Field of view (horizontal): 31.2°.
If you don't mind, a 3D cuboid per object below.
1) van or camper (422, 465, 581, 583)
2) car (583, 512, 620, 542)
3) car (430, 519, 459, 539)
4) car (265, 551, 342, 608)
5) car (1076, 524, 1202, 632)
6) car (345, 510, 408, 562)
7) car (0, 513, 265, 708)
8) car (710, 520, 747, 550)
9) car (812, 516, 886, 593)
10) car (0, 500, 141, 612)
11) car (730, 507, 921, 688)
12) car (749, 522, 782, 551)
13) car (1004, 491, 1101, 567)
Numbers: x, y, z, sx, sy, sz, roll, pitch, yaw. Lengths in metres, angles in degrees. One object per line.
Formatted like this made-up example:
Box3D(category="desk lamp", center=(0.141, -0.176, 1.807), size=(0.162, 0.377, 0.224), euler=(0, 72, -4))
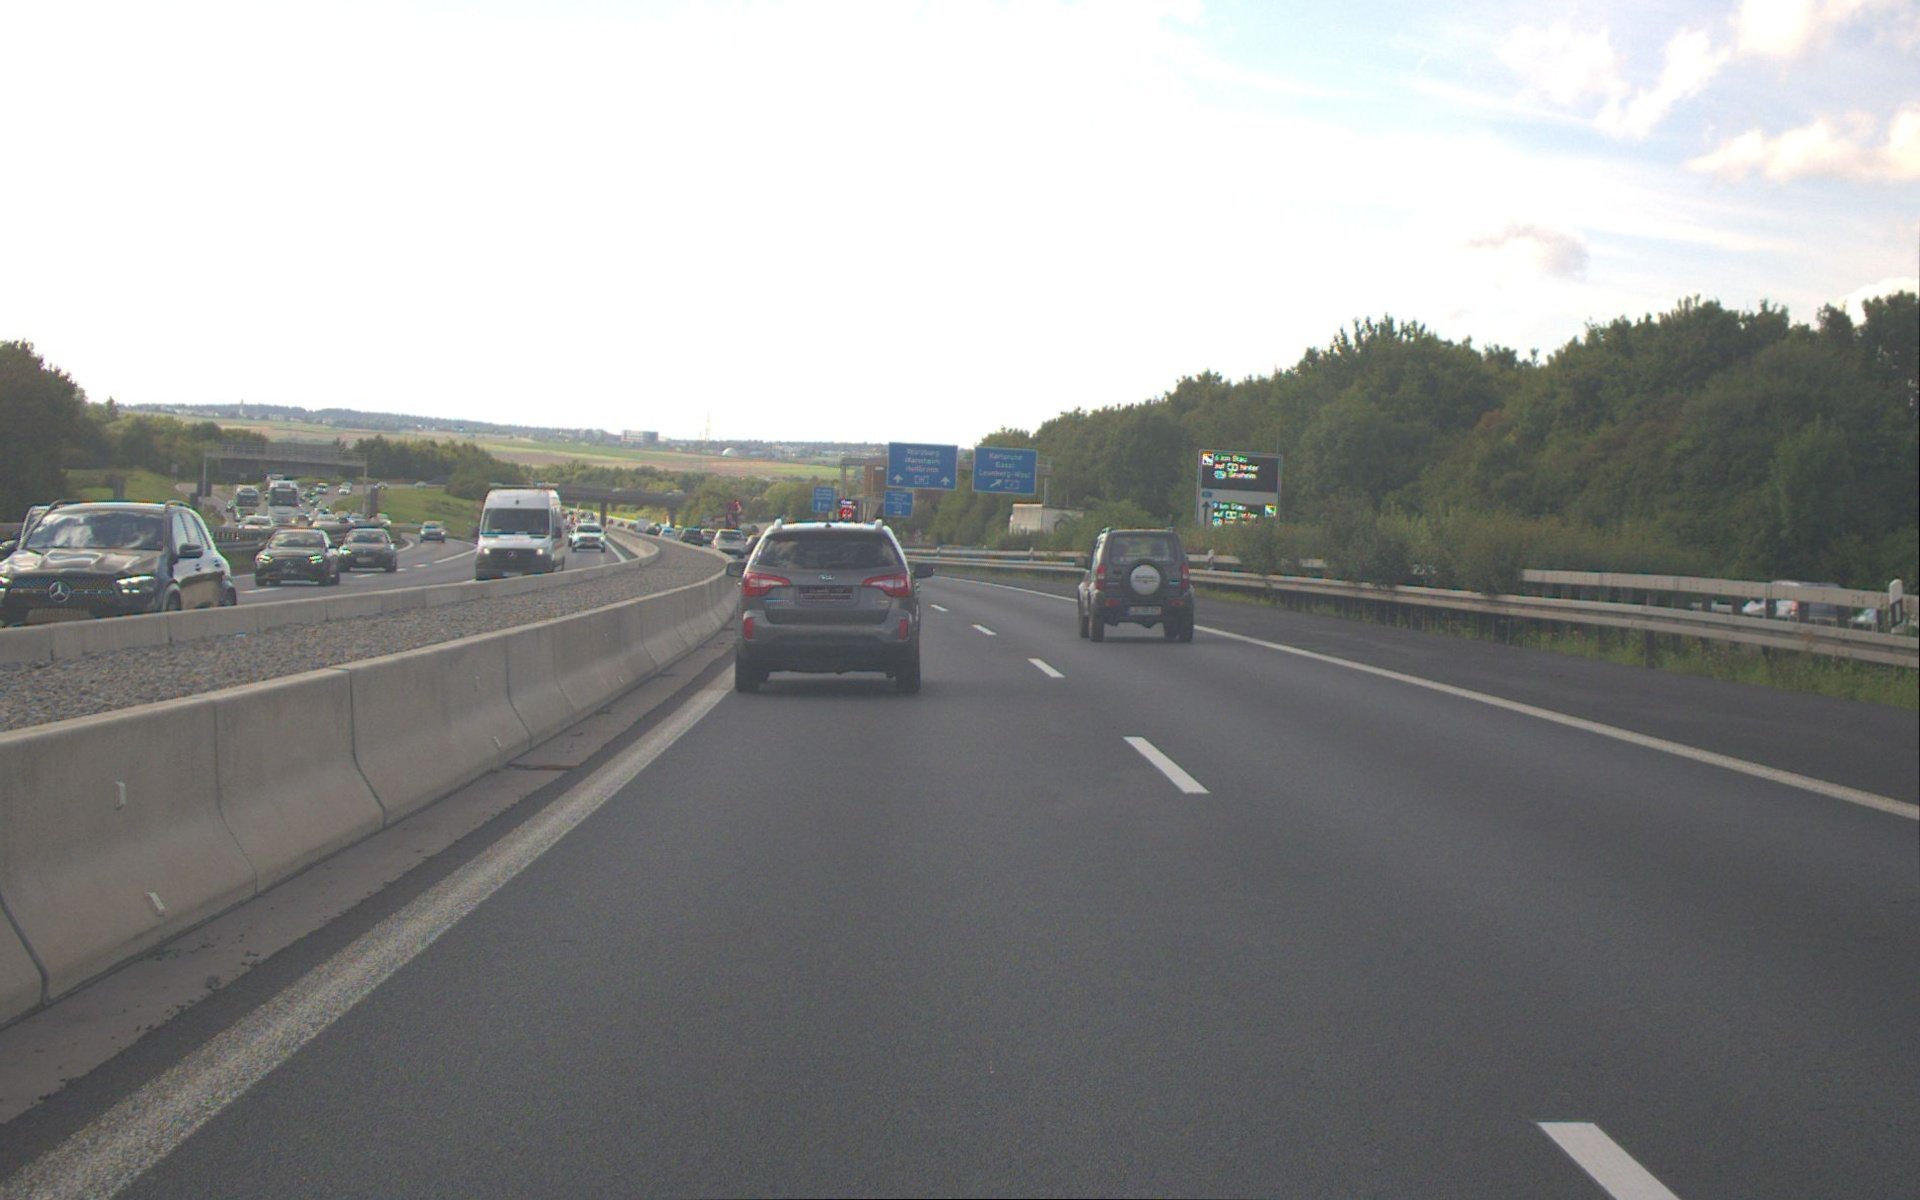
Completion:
Box3D(category="van or camper", center=(-12.082, -2.003, 91.203), size=(3.335, 2.906, 7.467), euler=(1, 1, -1))
Box3D(category="car", center=(-20.450, -4.173, 196.408), size=(1.842, 1.605, 5.136), euler=(1, 1, -3))
Box3D(category="car", center=(-35.158, -4.835, 234.630), size=(1.626, 1.289, 4.756), euler=(1, 1, -5))
Box3D(category="car", center=(-17.756, -0.580, 93.118), size=(1.784, 1.412, 4.998), euler=(1, 1, -8))
Box3D(category="car", center=(2.758, -0.374, 53.701), size=(1.587, 1.591, 4.096), euler=(1, 1, -2))
Box3D(category="car", center=(-19.808, -2.194, 116.806), size=(1.725, 1.694, 4.153), euler=(1, 1, -5))
Box3D(category="car", center=(-9.070, 0.052, 37.304), size=(1.993, 1.913, 5.149), euler=(2, 1, 0))
Box3D(category="car", center=(-14.113, -3.973, 209.186), size=(1.993, 1.678, 4.001), euler=(1, -1, -7))
Box3D(category="car", center=(-3.189, -1.314, 98.969), size=(2.030, 2.144, 4.000), euler=(1, 1, -2))
Box3D(category="car", center=(-16.087, -0.803, 61.513), size=(1.914, 1.899, 5.288), euler=(0, 1, -4))
Box3D(category="car", center=(-1.395, -0.037, 35.941), size=(1.817, 1.730, 5.187), euler=(1, 0, -2))
Box3D(category="car", center=(-14.215, -4.626, 251.167), size=(1.993, 1.922, 4.001), euler=(1, -1, -9))
Box3D(category="car", center=(5.606, -4.296, 211.889), size=(4.728, 4.251, 11.405), euler=(1, -1, -4))
